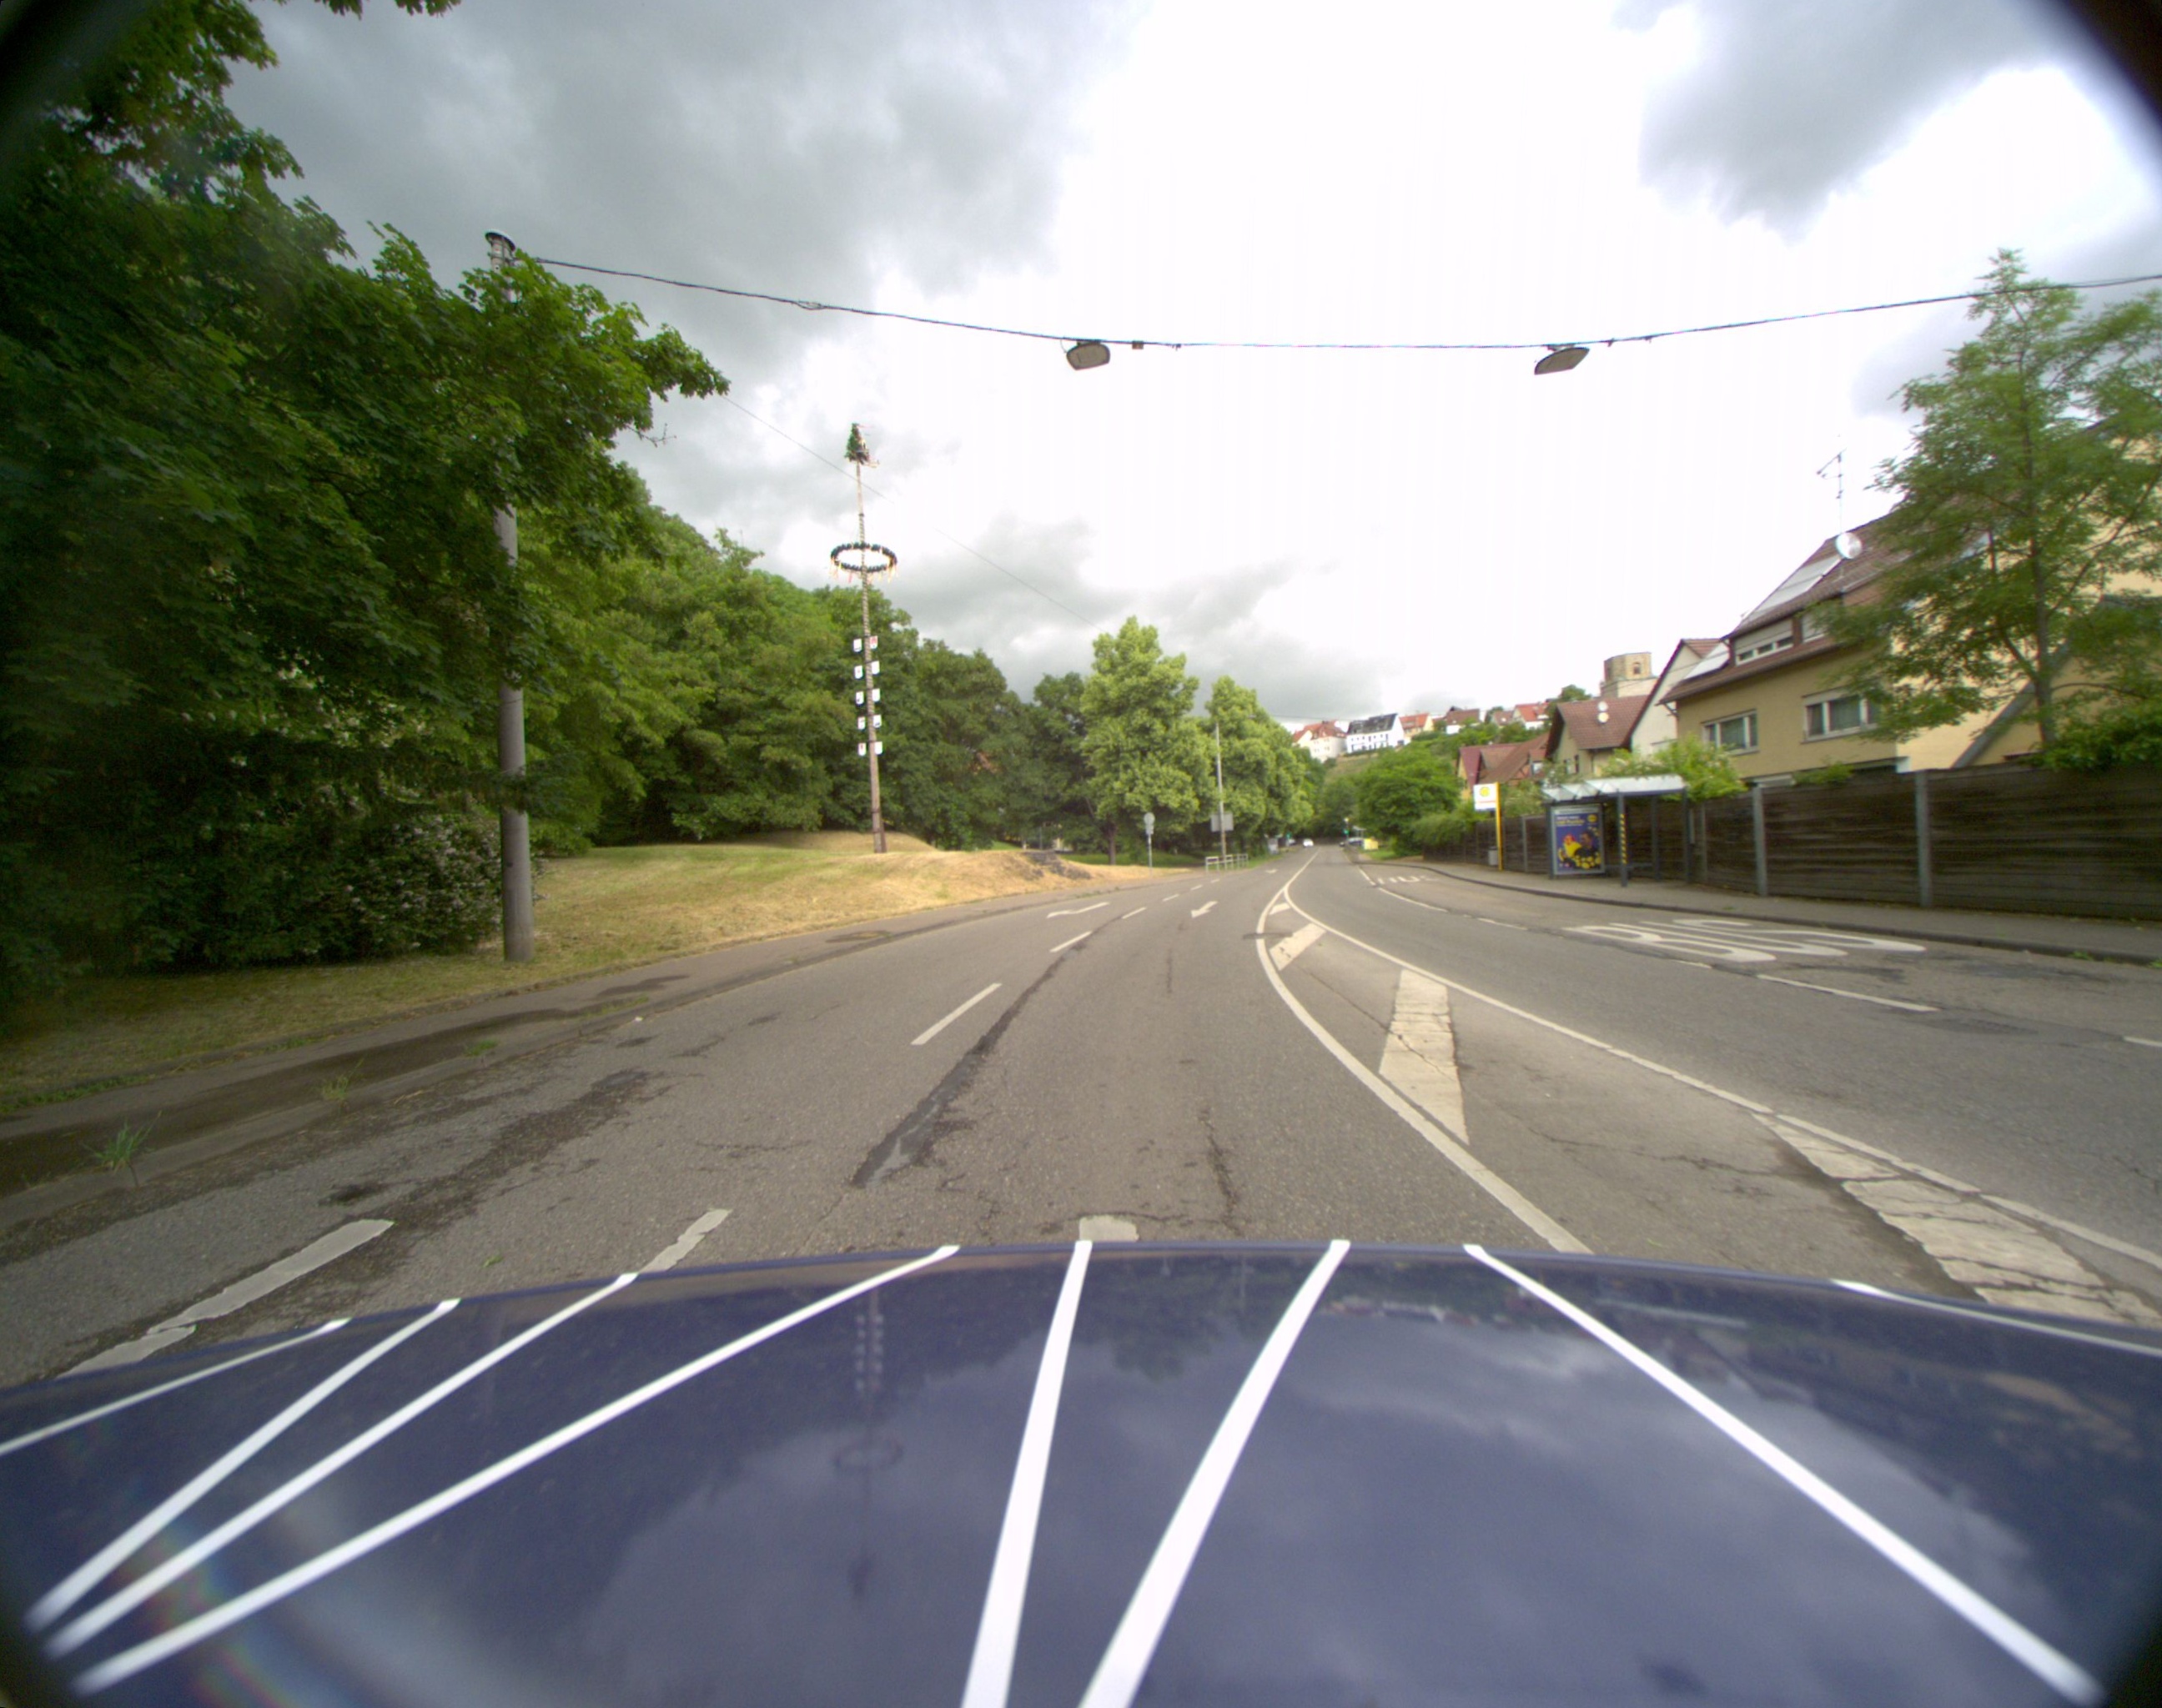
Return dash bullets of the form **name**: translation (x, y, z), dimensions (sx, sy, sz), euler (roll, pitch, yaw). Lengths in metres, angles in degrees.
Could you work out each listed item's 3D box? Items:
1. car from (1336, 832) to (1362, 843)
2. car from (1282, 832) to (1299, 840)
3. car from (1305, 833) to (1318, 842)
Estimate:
- **car**: translation (44.350, -2.737, 125.636), dimensions (3.679, 1.575, 1.765), euler (-2, 1, 3)
- **car**: translation (47.736, -4.040, 172.967), dimensions (2.001, 1.608, 3.995), euler (-3, 1, -15)
- **car**: translation (43.964, -3.099, 144.982), dimensions (1.762, 1.516, 3.685), euler (-2, 1, 9)
